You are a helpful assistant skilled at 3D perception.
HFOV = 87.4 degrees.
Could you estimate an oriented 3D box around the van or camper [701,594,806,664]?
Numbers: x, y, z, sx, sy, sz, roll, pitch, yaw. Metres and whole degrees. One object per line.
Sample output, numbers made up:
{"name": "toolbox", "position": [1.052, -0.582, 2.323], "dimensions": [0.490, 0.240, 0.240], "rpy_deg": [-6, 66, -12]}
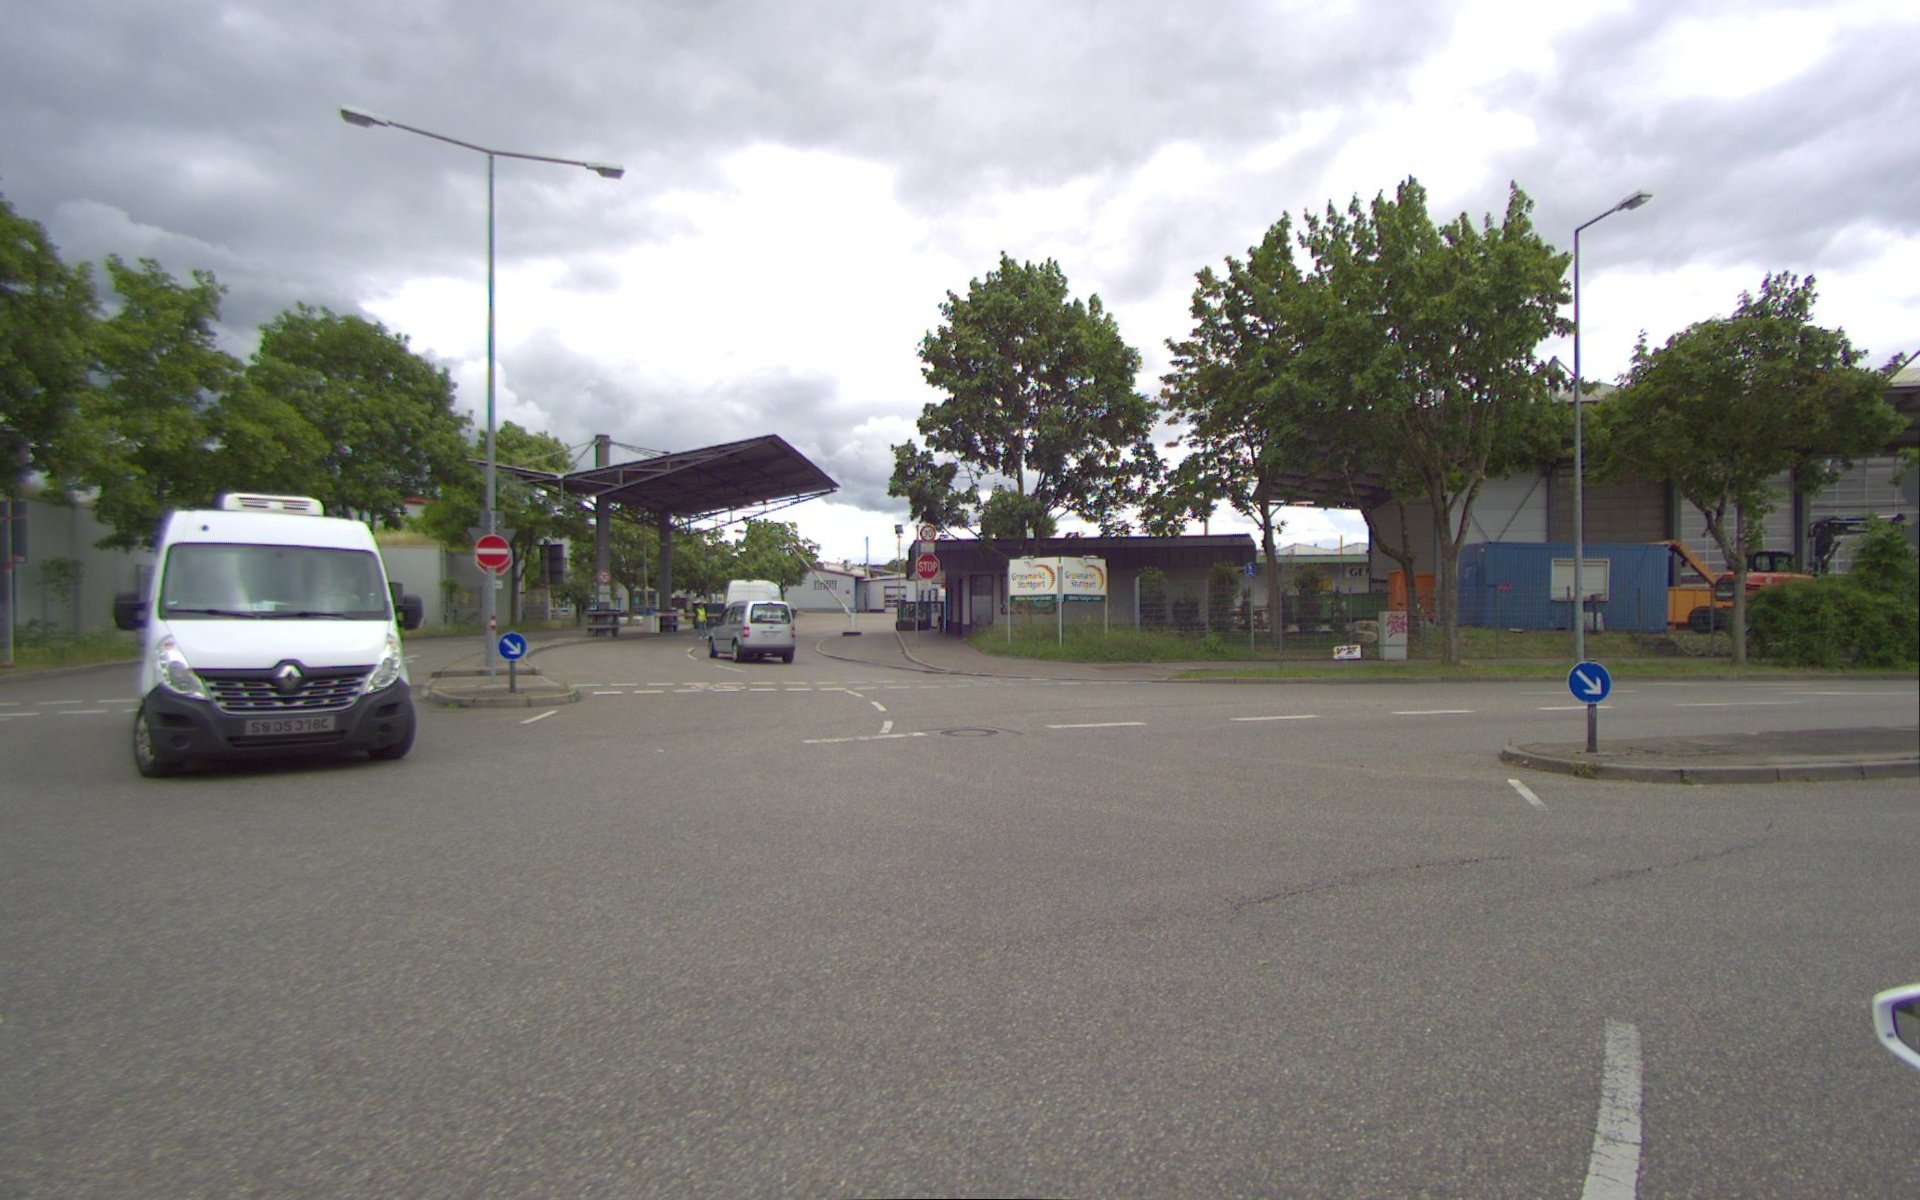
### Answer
{"name": "van or camper", "position": [-6.414, 0.838, 30.883], "dimensions": [1.935, 1.989, 4.243], "rpy_deg": [2, -1, -29]}

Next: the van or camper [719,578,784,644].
{"name": "van or camper", "position": [-8.780, 0.390, 42.866], "dimensions": [2.288, 2.591, 6.567], "rpy_deg": [0, 1, -8]}

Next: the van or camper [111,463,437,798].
{"name": "van or camper", "position": [-7.492, 0.210, 10.883], "dimensions": [2.252, 2.591, 6.043], "rpy_deg": [-1, 1, -37]}

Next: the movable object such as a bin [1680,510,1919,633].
{"name": "movable object such as a bin", "position": [29.766, -0.937, 35.568], "dimensions": [6.420, 4.145, 2.735], "rpy_deg": [0, -1, 5]}

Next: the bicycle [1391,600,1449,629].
{"name": "bicycle", "position": [16.084, 0.508, 35.141], "dimensions": [1.726, 0.987, 0.663], "rpy_deg": [0, -1, 5]}

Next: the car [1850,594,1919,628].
{"name": "car", "position": [39.792, 0.467, 41.666], "dimensions": [3.919, 1.392, 1.739], "rpy_deg": [0, 0, 13]}

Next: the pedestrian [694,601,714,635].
{"name": "pedestrian", "position": [-11.965, 0.843, 46.945], "dimensions": [0.754, 1.579, 0.816], "rpy_deg": [0, -1, -4]}
